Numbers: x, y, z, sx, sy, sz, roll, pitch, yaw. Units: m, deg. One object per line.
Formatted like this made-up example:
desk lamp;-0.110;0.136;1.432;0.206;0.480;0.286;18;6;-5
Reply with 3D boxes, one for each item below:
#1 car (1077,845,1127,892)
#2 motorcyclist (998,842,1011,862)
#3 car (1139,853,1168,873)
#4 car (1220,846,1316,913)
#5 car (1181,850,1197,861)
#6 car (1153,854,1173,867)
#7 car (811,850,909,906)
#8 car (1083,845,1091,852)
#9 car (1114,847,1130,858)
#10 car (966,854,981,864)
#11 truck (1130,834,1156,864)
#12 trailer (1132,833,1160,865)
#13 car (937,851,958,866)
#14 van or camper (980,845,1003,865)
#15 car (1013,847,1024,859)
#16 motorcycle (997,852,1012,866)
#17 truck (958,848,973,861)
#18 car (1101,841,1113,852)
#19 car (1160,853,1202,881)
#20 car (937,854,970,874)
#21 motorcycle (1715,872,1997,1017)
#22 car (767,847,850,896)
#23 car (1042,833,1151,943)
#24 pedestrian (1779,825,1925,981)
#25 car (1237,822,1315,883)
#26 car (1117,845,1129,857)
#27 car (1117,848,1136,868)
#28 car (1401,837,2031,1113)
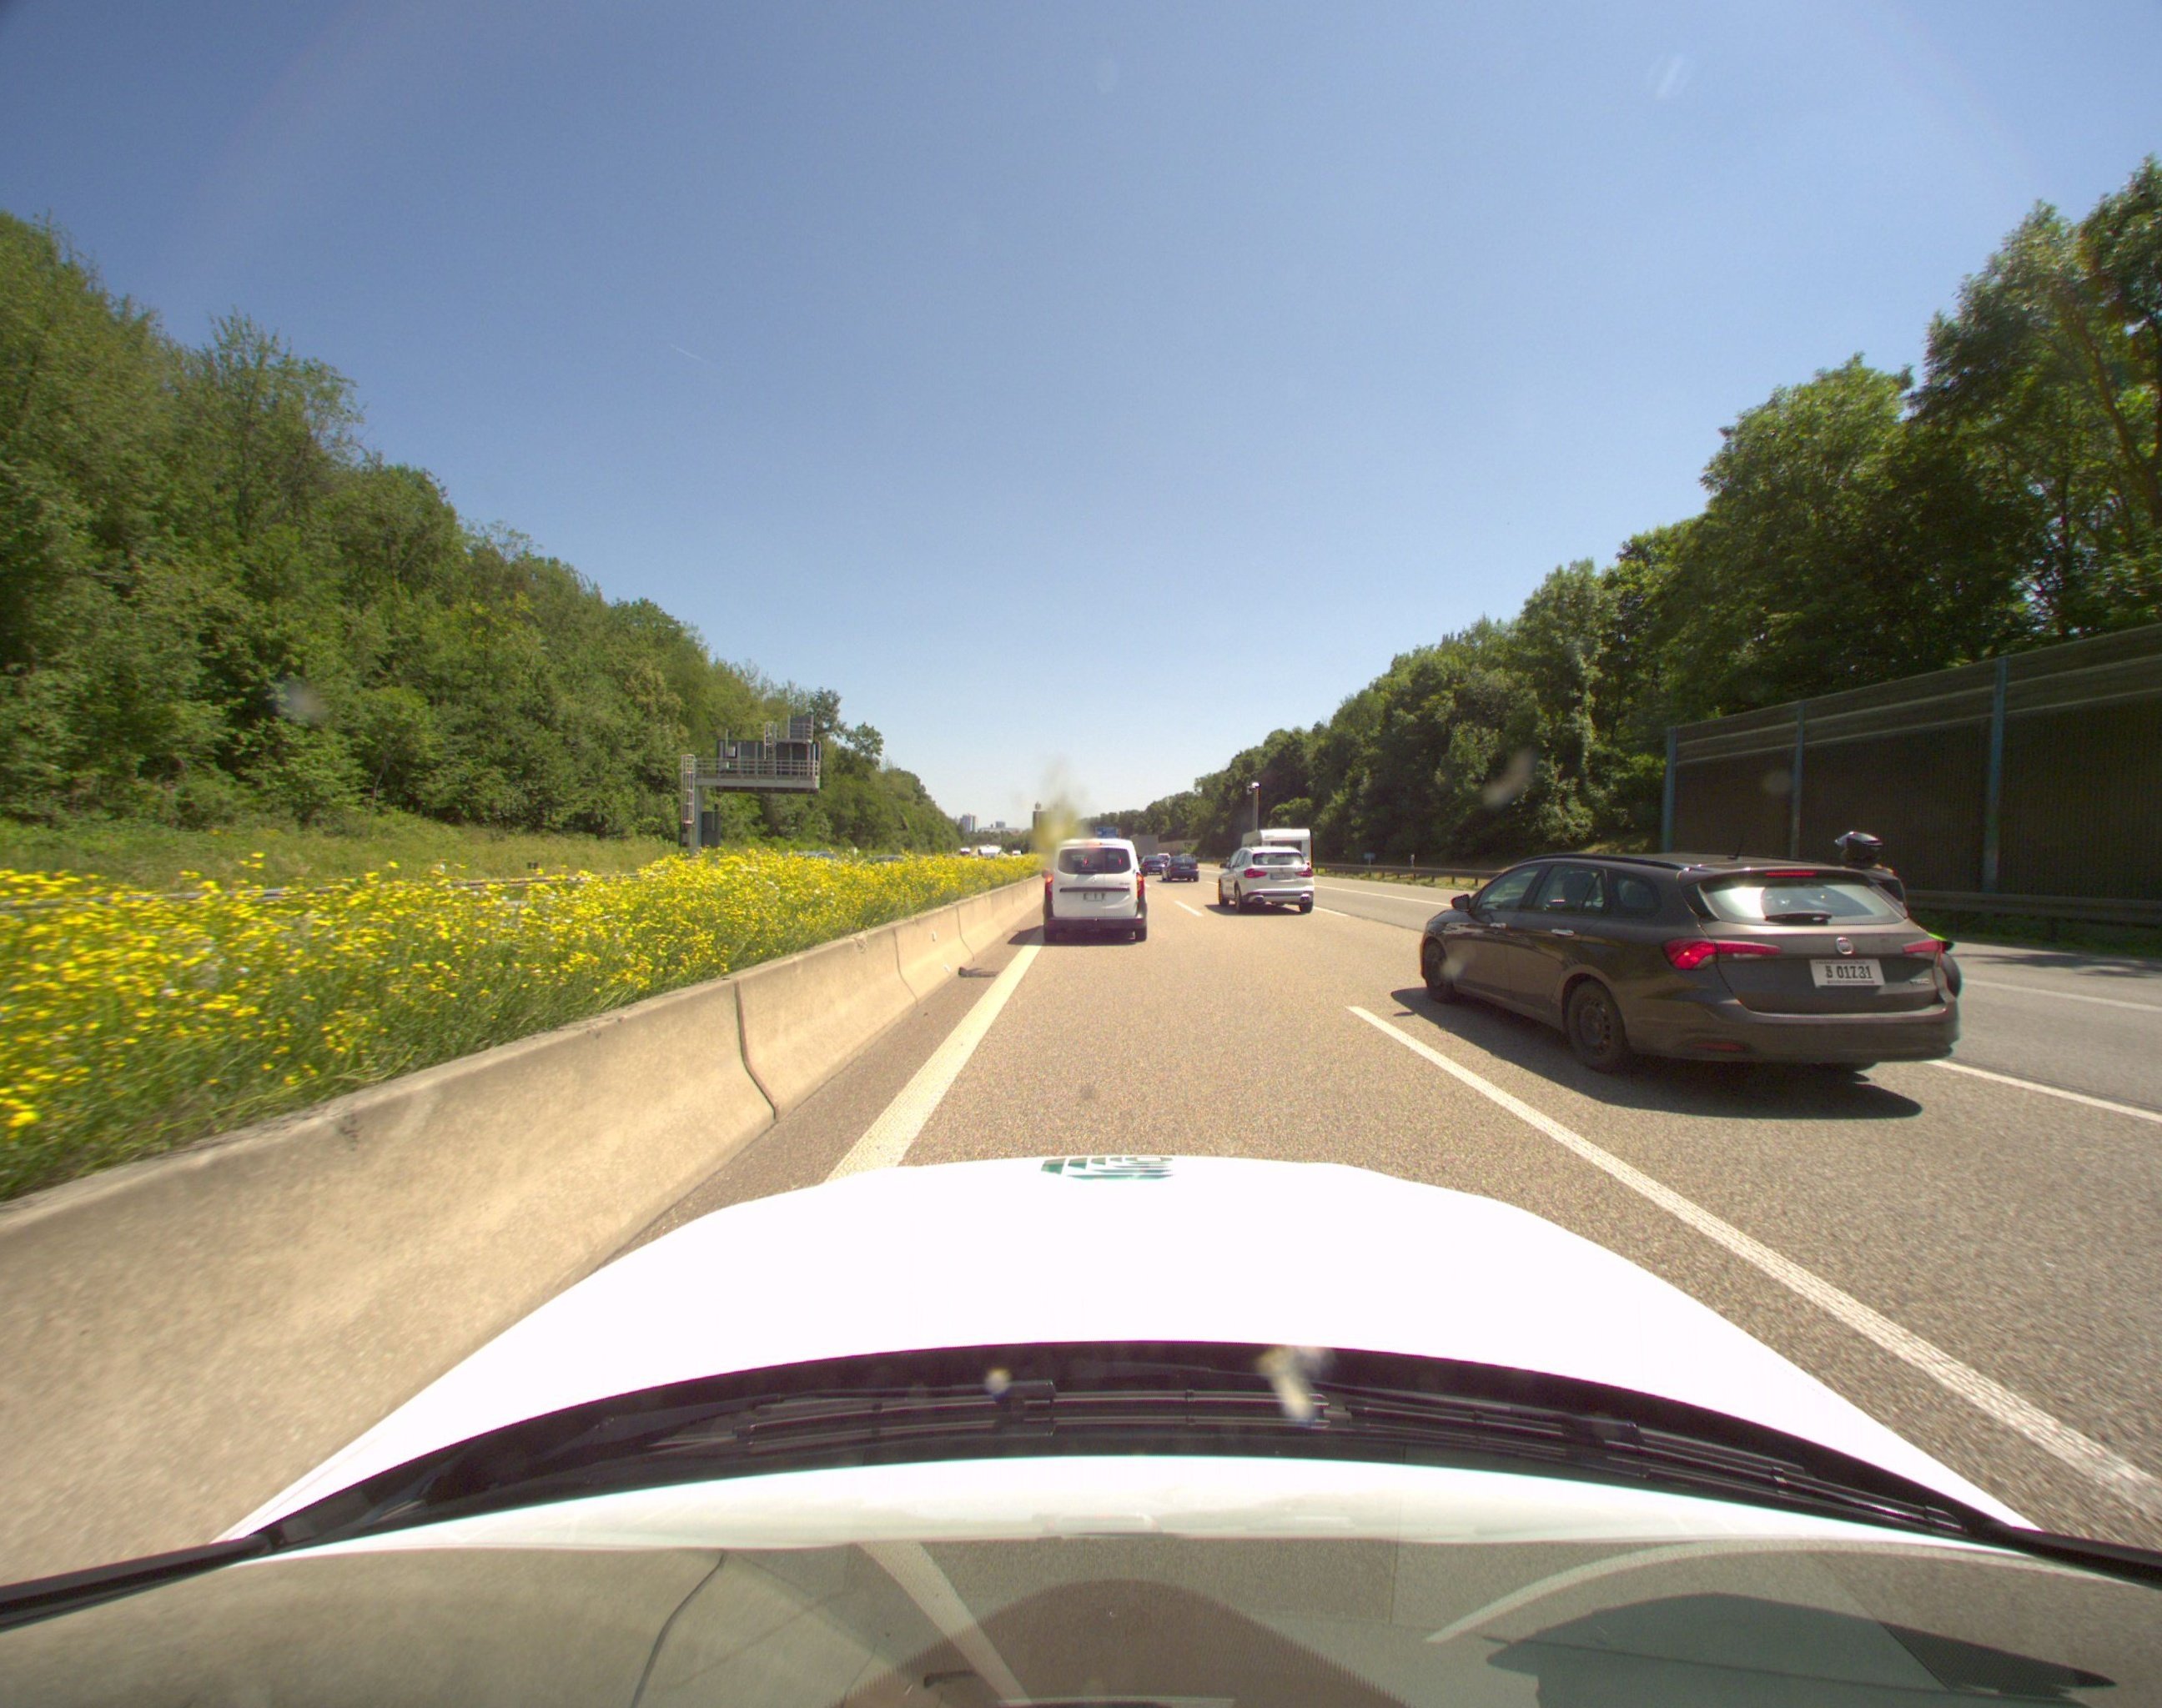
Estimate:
car;0.882;0.567;34.575;1.986;1.860;4.001;-1;0;1
motorcyclist;-6.874;-0.166;73.367;1.028;1.786;1.284;-1;0;1
car;5.208;0.627;58.933;1.817;1.424;4.001;-1;0;1
car;4.823;0.592;21.542;1.863;1.608;3.882;0;1;3
car;15.045;0.233;113.119;1.781;1.519;4.001;-1;0;1
car;8.946;0.683;89.252;1.817;1.424;4.001;-1;0;1
car;-6.461;0.655;24.265;1.730;1.498;4.001;-1;0;2
car;1.727;-1.515;233.964;1.986;2.013;4.001;-1;0;1
car;5.262;-0.178;104.773;1.817;1.447;4.001;-1;0;1
car;-19.235;0.883;145.877;1.986;1.575;4.001;-1;0;1
truck;8.670;-0.683;115.038;3.071;3.985;9.648;-1;0;1
trailer;8.538;-0.657;107.725;3.071;3.985;10.325;-1;0;1
car;-15.643;0.489;95.727;1.750;1.696;4.421;-1;0;-1
van or camper;-12.143;0.120;111.120;2.301;2.636;7.398;-1;0;0
car;-14.485;-0.217;189.982;1.986;2.541;5.910;-1;0;1
motorcycle;-6.882;0.424;73.403;1.036;1.215;2.614;-1;0;1
truck;-26.352;0.070;186.701;2.399;3.005;7.458;-1;0;0
car;5.122;-1.454;161.079;1.989;2.013;3.996;-1;0;-3
car;5.336;0.663;43.701;1.817;1.424;4.001;-1;0;1
car;-10.027;0.780;64.327;1.833;1.522;4.358;-1;0;1
motorcycle;7.648;0.812;8.248;0.855;1.181;2.280;0;1;5
car;-10.373;0.624;31.336;1.730;1.733;4.149;-1;0;1
car;0.269;0.563;15.528;1.796;1.808;4.000;-1;0;0
pedestrian;7.625;0.462;8.087;0.847;1.478;0.639;0;0;5
car;9.517;-0.054;40.380;2.470;2.766;6.221;-1;0;1
car;7.375;-0.530;144.062;1.986;2.013;4.001;-1;0;1
car;4.684;0.386;84.956;1.817;1.989;4.001;-1;0;1
car;4.360;0.643;6.683;1.832;1.513;4.403;0;1;1
